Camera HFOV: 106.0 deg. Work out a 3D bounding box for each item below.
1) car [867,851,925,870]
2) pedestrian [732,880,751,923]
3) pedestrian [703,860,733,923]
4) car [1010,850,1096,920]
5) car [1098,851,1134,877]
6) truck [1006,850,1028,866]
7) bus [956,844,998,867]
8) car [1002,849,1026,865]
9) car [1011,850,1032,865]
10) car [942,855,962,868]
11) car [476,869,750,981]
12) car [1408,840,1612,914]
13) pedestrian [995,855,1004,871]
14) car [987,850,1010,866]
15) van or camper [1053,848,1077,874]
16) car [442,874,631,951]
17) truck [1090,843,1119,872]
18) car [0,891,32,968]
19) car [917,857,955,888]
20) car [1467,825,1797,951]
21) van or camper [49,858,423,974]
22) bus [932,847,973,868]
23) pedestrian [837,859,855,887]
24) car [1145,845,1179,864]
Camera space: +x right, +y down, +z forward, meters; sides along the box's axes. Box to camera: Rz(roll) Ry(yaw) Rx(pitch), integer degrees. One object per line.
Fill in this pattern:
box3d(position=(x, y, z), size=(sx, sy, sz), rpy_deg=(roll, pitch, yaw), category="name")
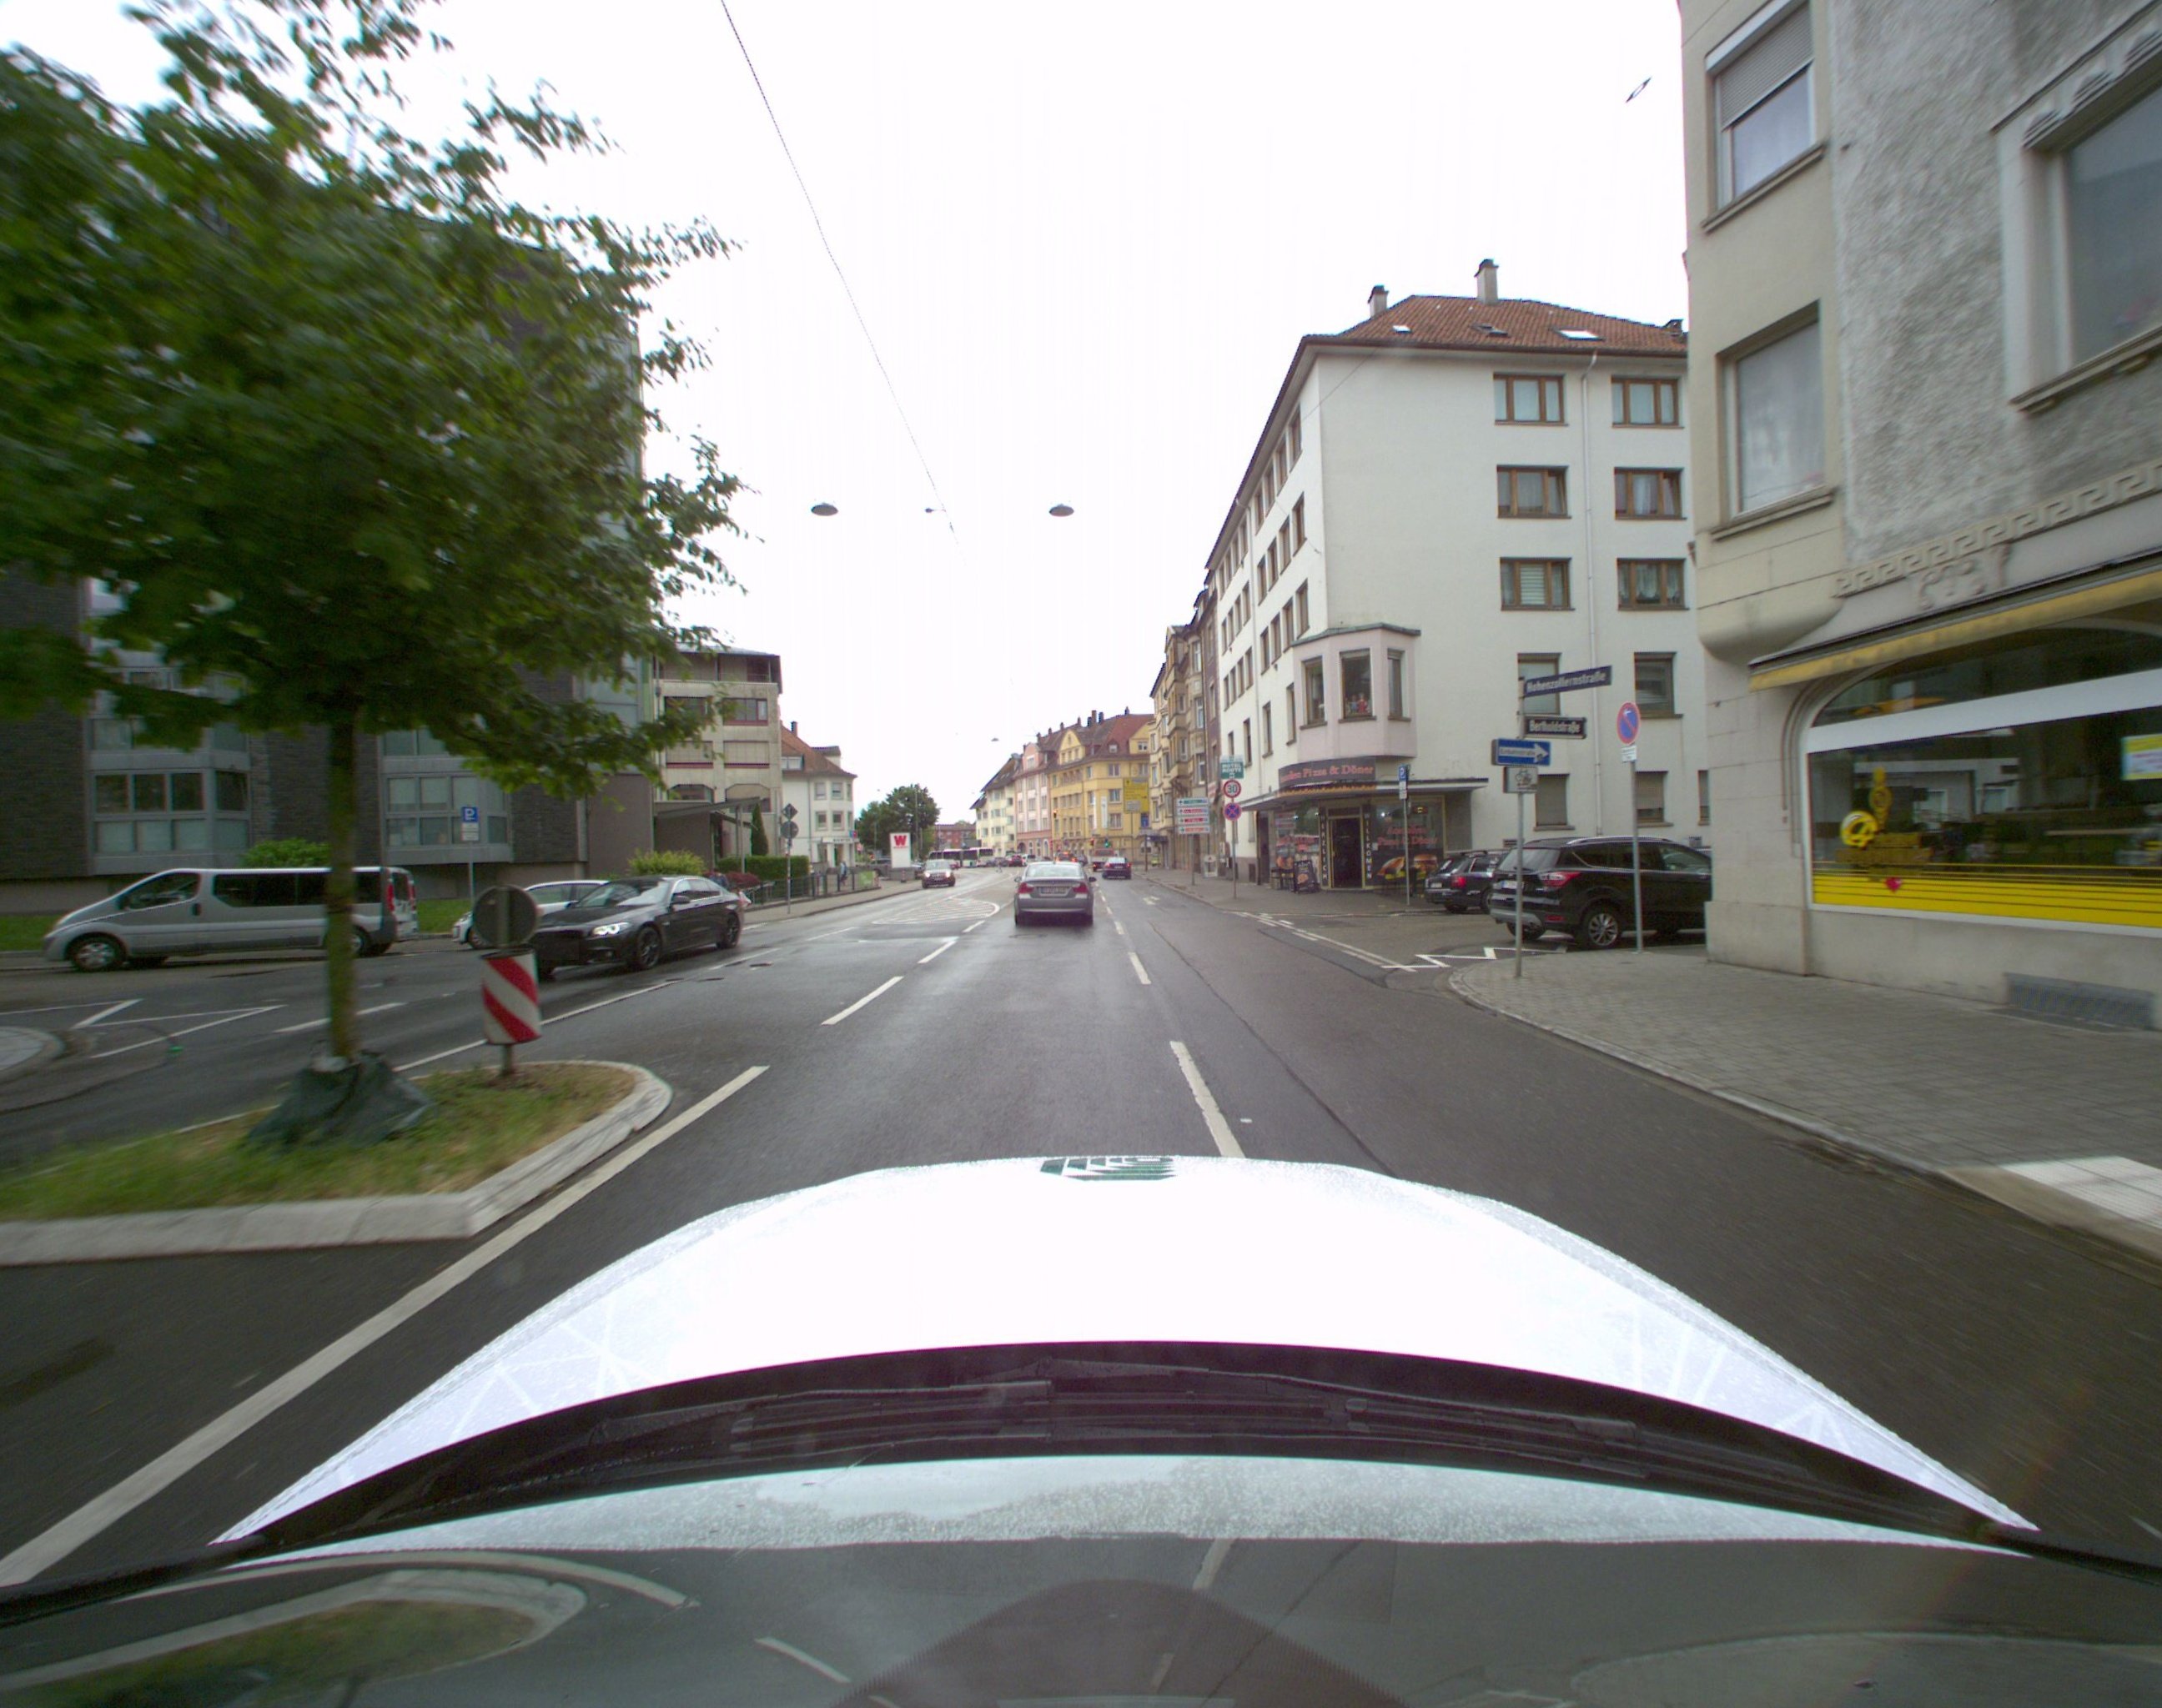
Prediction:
box3d(position=(-15.082, 0.508, 66.548), size=(4.439, 1.526, 1.882), rpy_deg=(-1, 0, -6), category="car")
box3d(position=(-9.750, 1.356, 23.380), size=(0.408, 1.198, 0.310), rpy_deg=(-2, 0, -7), category="pedestrian")
box3d(position=(-10.394, 1.051, 23.317), size=(0.573, 1.762, 0.580), rpy_deg=(-2, 0, -7), category="pedestrian")
box3d(position=(-0.632, 0.701, 19.236), size=(1.794, 1.464, 4.368), rpy_deg=(0, -1, -1), category="car")
box3d(position=(2.154, 0.623, 51.271), size=(1.796, 1.563, 3.993), rpy_deg=(-1, -1, -5), category="car")
box3d(position=(-9.887, 0.558, 125.526), size=(2.036, 2.389, 4.201), rpy_deg=(-1, 0, -25), category="truck")
box3d(position=(-15.636, 0.266, 121.585), size=(2.927, 3.105, 9.055), rpy_deg=(-2, 0, -30), category="bus")
box3d(position=(-8.742, 0.391, 105.994), size=(2.001, 2.013, 3.971), rpy_deg=(-2, 0, -21), category="car")
box3d(position=(-8.731, 0.540, 119.517), size=(1.771, 2.180, 3.966), rpy_deg=(1, -1, -26), category="car")
box3d(position=(-17.365, 1.014, 109.611), size=(1.852, 1.684, 3.971), rpy_deg=(-2, 0, -22), category="car")
box3d(position=(-7.550, 1.051, 13.807), size=(2.007, 1.425, 4.499), rpy_deg=(-2, 0, 0), category="car")
box3d(position=(10.464, 0.557, 20.023), size=(4.102, 1.607, 1.802), rpy_deg=(-1, -2, -7), category="car")
box3d(position=(-8.162, 0.900, 81.290), size=(0.763, 1.529, 0.505), rpy_deg=(0, -1, -21), category="pedestrian")
box3d(position=(-11.357, 0.547, 111.775), size=(2.001, 2.013, 3.971), rpy_deg=(-2, 0, -22), category="car")
box3d(position=(-1.406, 0.549, 70.986), size=(1.851, 2.146, 4.137), rpy_deg=(-2, 0, -3), category="van or camper")
box3d(position=(-12.847, 1.308, 19.418), size=(3.603, 1.569, 1.723), rpy_deg=(-1, 0, -33), category="car")
box3d(position=(1.909, 0.272, 67.675), size=(2.218, 2.249, 5.061), rpy_deg=(-1, 0, -1), category="truck")
box3d(position=(-22.185, 1.502, 14.512), size=(3.736, 1.443, 1.983), rpy_deg=(-2, 0, -26), category="car")
box3d(position=(-8.751, 1.056, 48.891), size=(1.950, 1.659, 4.039), rpy_deg=(-3, 0, -13), category="car")
box3d(position=(8.649, 0.484, 12.983), size=(4.133, 1.772, 1.869), rpy_deg=(-1, 0, -7), category="car")
box3d(position=(-17.021, 1.159, 16.871), size=(4.982, 2.014, 1.981), rpy_deg=(-1, -1, -30), category="van or camper")
box3d(position=(-20.486, 0.614, 129.248), size=(2.930, 3.105, 8.778), rpy_deg=(-2, 0, -34), category="bus")
box3d(position=(-14.567, 1.191, 50.545), size=(0.745, 1.685, 0.752), rpy_deg=(-2, 0, 45), category="pedestrian")
box3d(position=(8.890, 0.044, 88.980), size=(1.974, 2.013, 4.026), rpy_deg=(-1, 0, 34), category="car")
